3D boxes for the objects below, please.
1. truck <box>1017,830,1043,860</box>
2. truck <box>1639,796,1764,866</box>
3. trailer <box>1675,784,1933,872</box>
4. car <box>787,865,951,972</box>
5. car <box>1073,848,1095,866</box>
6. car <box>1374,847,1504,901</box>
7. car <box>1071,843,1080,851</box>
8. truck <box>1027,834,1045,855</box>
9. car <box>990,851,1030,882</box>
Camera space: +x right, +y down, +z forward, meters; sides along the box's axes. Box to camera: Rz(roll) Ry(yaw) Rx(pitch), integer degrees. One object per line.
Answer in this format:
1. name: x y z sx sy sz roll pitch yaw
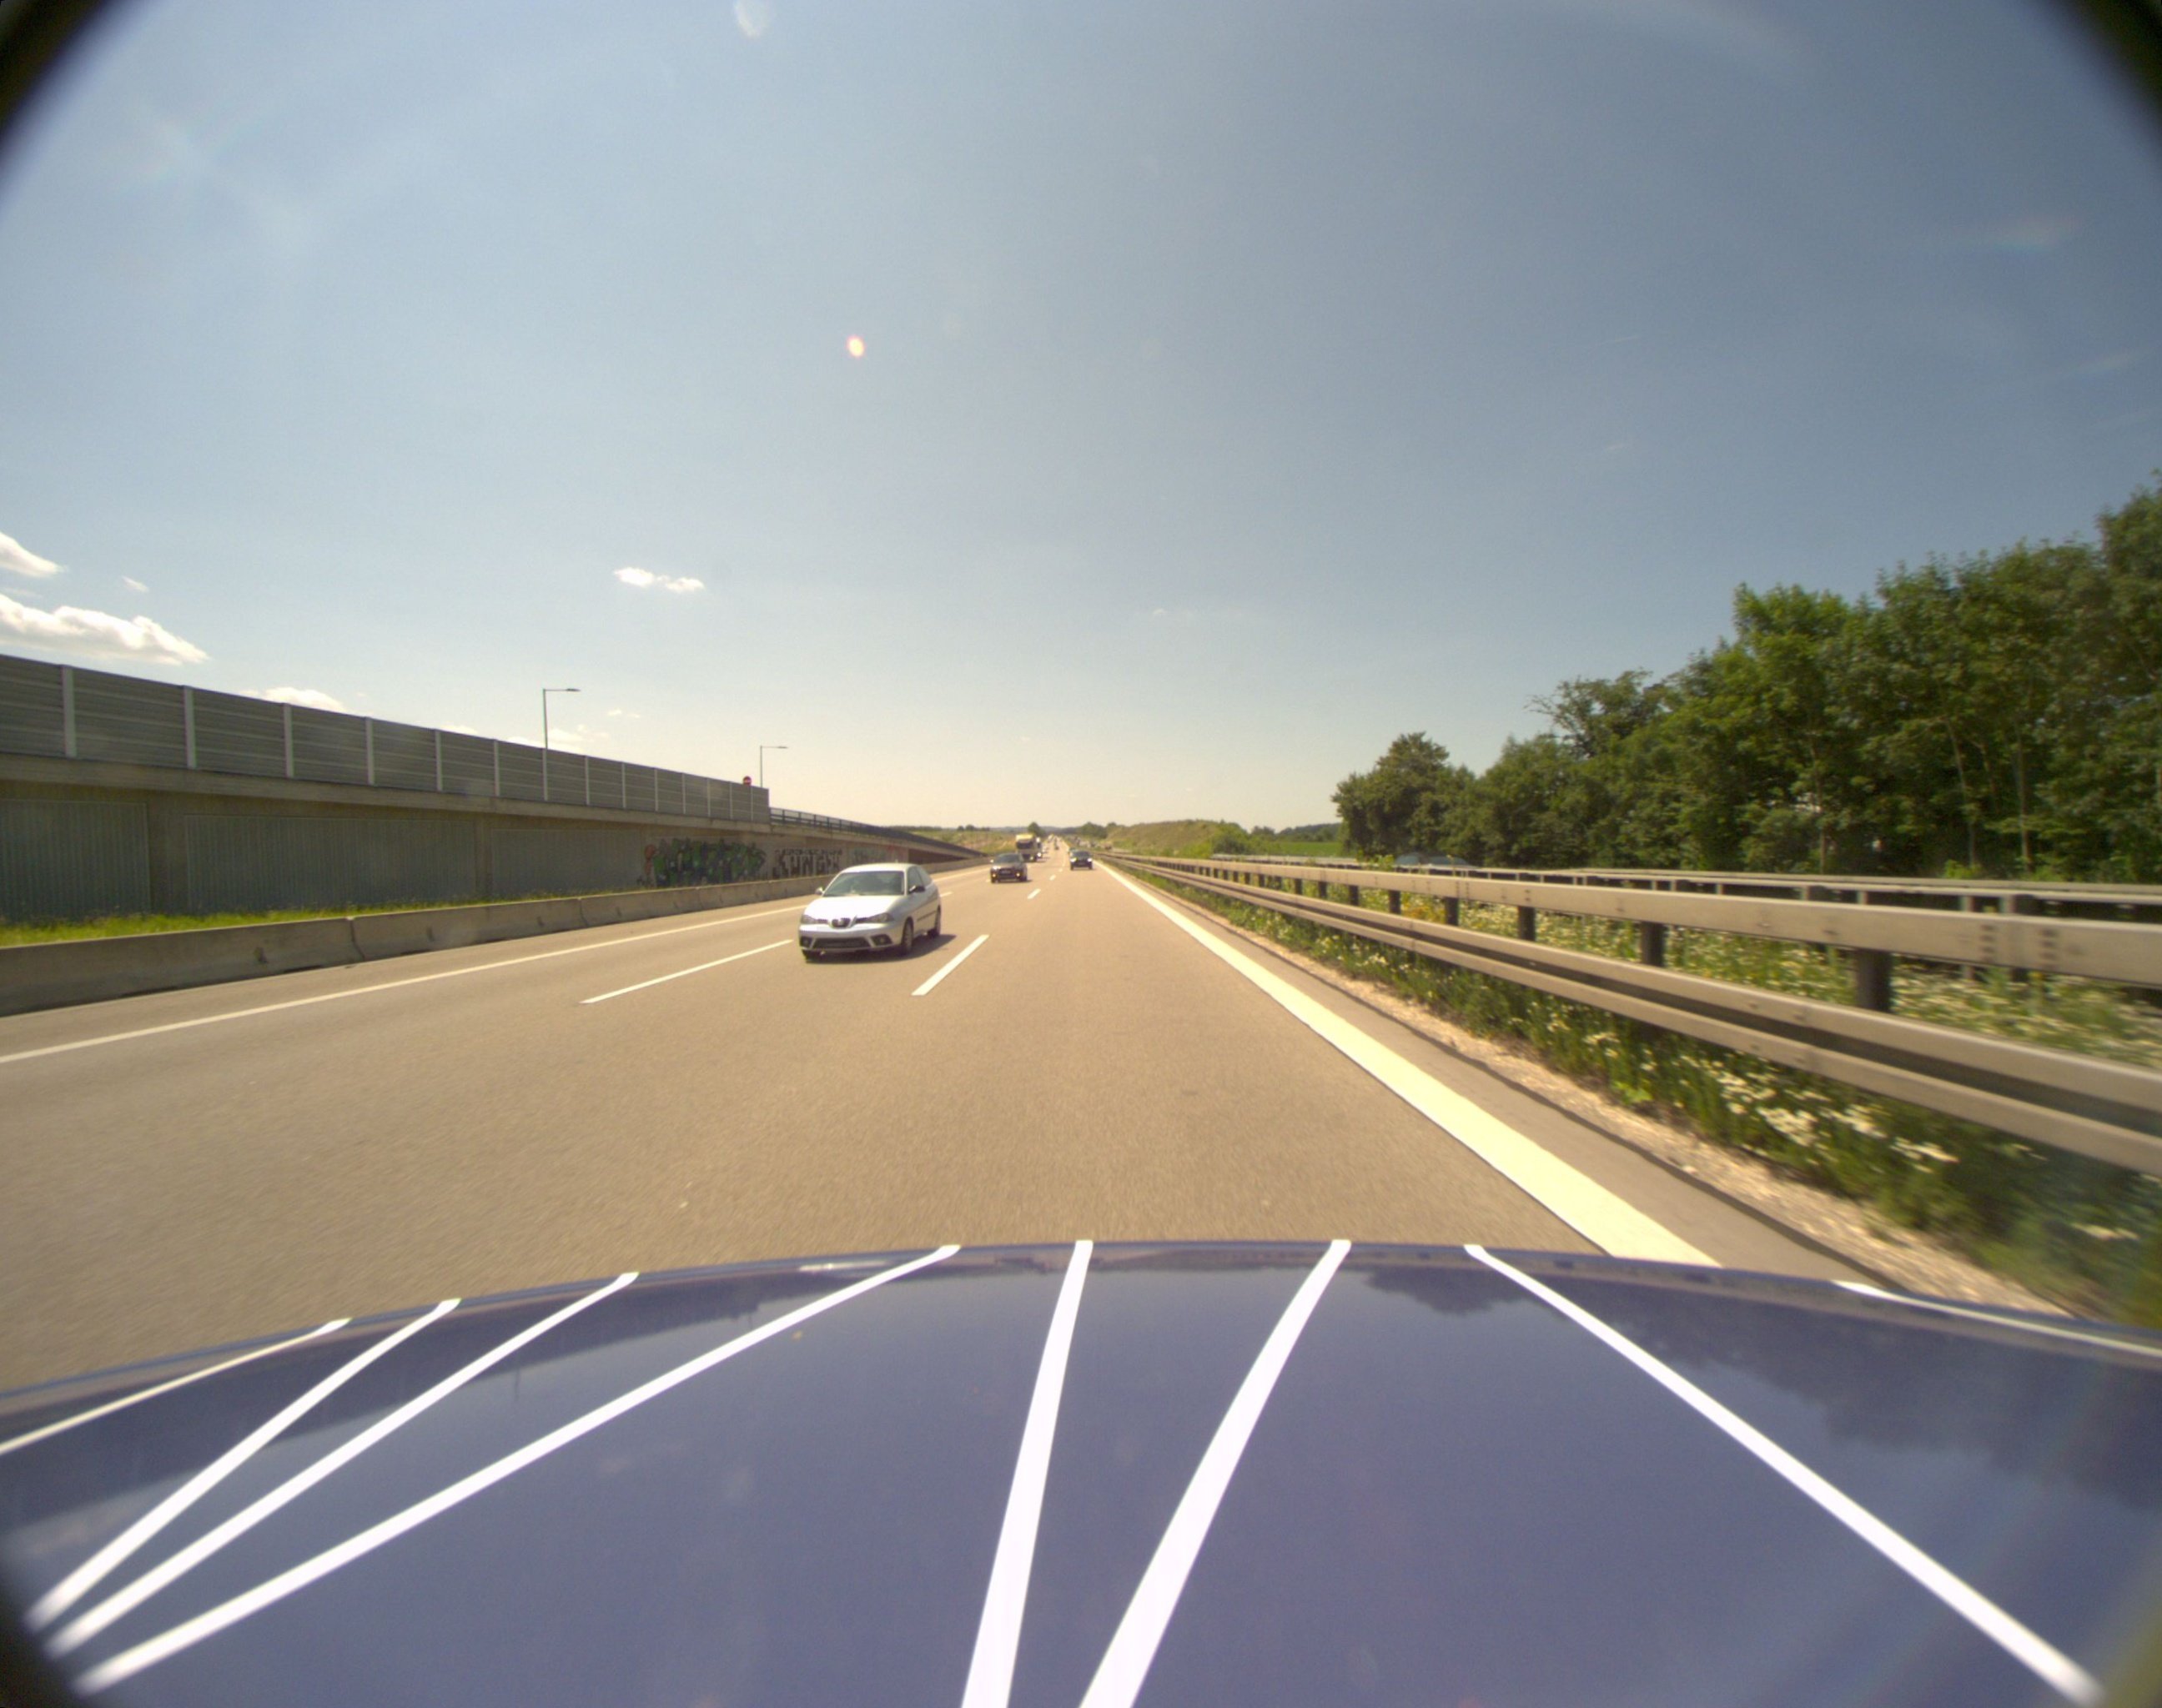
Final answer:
1. truck: -7.409 -1.377 112.827 3.368 4.037 11.733 -2 1 -2
2. truck: 34.277 -1.252 42.256 1.998 3.543 6.021 -2 1 1
3. trailer: 34.212 -1.159 36.938 1.998 3.580 11.105 -2 1 1
4. car: -3.465 0.981 13.174 1.634 1.381 3.999 -2 1 0
5. car: 0.246 0.249 64.806 1.751 1.439 3.999 -2 1 0
6. car: 9.982 0.491 21.527 1.804 1.302 3.999 -2 1 1
7. car: -1.389 -1.756 189.030 1.998 2.002 4.000 -2 1 2
8. truck: -8.851 -1.924 150.447 3.368 3.976 11.734 -1 1 -2
9. car: -3.906 0.640 42.489 1.751 1.559 3.999 -2 1 0
